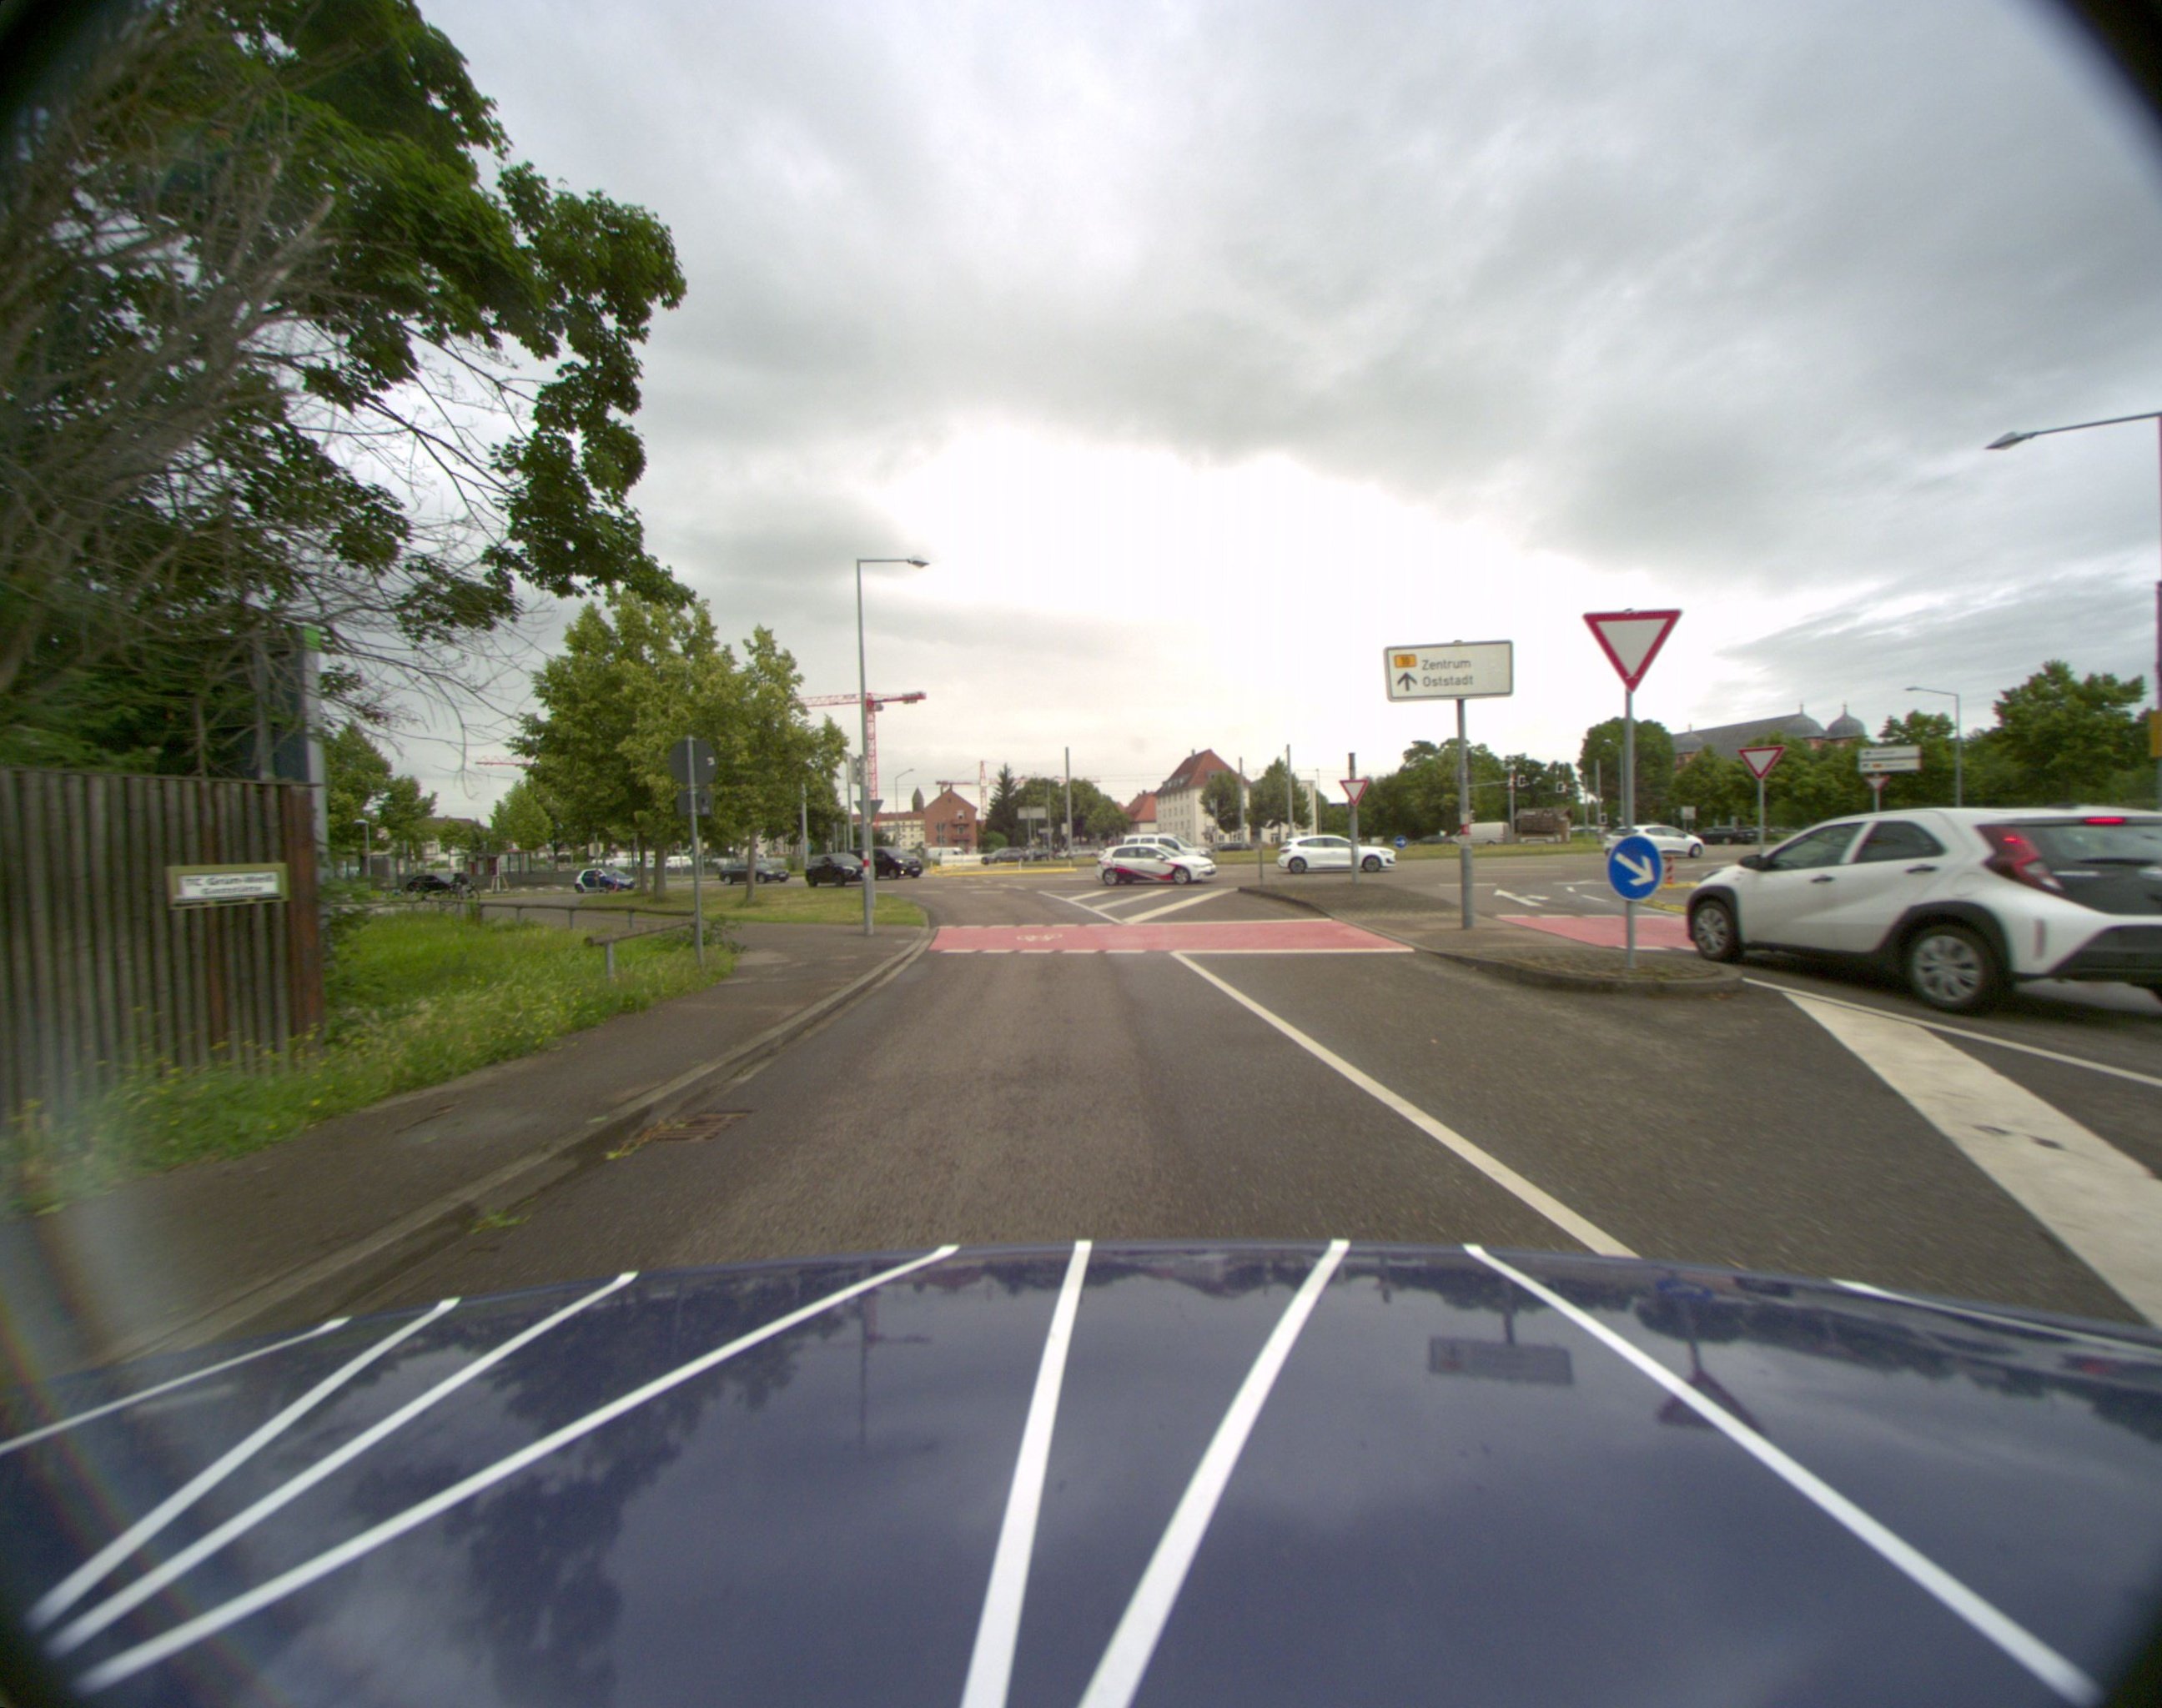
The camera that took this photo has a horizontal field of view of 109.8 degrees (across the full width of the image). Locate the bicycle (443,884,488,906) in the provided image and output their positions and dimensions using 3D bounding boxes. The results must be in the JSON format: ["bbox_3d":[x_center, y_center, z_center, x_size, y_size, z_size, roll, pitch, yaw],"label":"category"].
[{"bbox_3d":[-27.675,1.821,34.177,0.622,0.870,1.986,-1,0,-8],"label":"bicycle"}]

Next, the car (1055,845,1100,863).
[{"bbox_3d":[-0.365,-0.005,75.169,4.004,1.479,1.809,-3,1,-25],"label":"car"}]

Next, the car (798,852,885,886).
[{"bbox_3d":[-11.925,0.752,37.777,4.463,1.557,1.925,-2,2,40],"label":"car"}]

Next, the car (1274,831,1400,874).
[{"bbox_3d":[9.934,-0.069,29.686,4.466,1.449,1.924,-2,1,18],"label":"car"}]

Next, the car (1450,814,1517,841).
[{"bbox_3d":[41.302,-2.658,78.075,2.245,2.527,5.594,-4,2,-42],"label":"car"}]

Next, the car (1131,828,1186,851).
[{"bbox_3d":[8.100,-1.533,79.905,5.340,2.230,2.174,-3,1,-3],"label":"car"}]

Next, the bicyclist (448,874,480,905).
[{"bbox_3d":[-27.656,1.565,34.077,0.619,1.328,1.052,-2,1,-8],"label":"bicyclist"}]

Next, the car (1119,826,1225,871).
[{"bbox_3d":[4.273,-0.242,35.750,4.475,1.893,1.924,-2,1,25],"label":"car"}]

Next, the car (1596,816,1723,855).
[{"bbox_3d":[24.772,-0.777,32.567,4.477,1.446,1.919,-3,1,-14],"label":"car"}]

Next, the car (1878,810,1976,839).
[{"bbox_3d":[50.431,-1.725,45.411,1.896,1.547,4.003,-2,1,12],"label":"car"}]

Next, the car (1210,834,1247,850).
[{"bbox_3d":[16.546,-1.336,85.323,3.993,1.674,1.814,-2,1,13],"label":"car"}]

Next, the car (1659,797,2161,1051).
[{"bbox_3d":[7.213,0.393,6.606,1.754,1.578,3.903,0,2,8],"label":"car"}]

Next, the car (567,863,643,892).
[{"bbox_3d":[-30.929,1.541,49.427,3.993,1.718,1.862,-2,0,13],"label":"car"}]

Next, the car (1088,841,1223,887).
[{"bbox_3d":[2.656,0.365,27.334,4.421,1.449,1.835,-2,1,29],"label":"car"}]

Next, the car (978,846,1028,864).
[{"bbox_3d":[-7.149,0.094,70.131,1.994,1.462,4.351,-1,1,41],"label":"car"}]

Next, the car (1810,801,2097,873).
[{"bbox_3d":[23.237,-0.436,20.511,4.741,1.658,1.924,-2,1,20],"label":"car"}]

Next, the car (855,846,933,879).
[{"bbox_3d":[-10.642,0.493,43.178,4.003,1.705,1.933,-2,2,30],"label":"car"}]

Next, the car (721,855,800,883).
[{"bbox_3d":[-20.546,0.958,48.742,4.350,1.608,2.003,-2,0,19],"label":"car"}]
